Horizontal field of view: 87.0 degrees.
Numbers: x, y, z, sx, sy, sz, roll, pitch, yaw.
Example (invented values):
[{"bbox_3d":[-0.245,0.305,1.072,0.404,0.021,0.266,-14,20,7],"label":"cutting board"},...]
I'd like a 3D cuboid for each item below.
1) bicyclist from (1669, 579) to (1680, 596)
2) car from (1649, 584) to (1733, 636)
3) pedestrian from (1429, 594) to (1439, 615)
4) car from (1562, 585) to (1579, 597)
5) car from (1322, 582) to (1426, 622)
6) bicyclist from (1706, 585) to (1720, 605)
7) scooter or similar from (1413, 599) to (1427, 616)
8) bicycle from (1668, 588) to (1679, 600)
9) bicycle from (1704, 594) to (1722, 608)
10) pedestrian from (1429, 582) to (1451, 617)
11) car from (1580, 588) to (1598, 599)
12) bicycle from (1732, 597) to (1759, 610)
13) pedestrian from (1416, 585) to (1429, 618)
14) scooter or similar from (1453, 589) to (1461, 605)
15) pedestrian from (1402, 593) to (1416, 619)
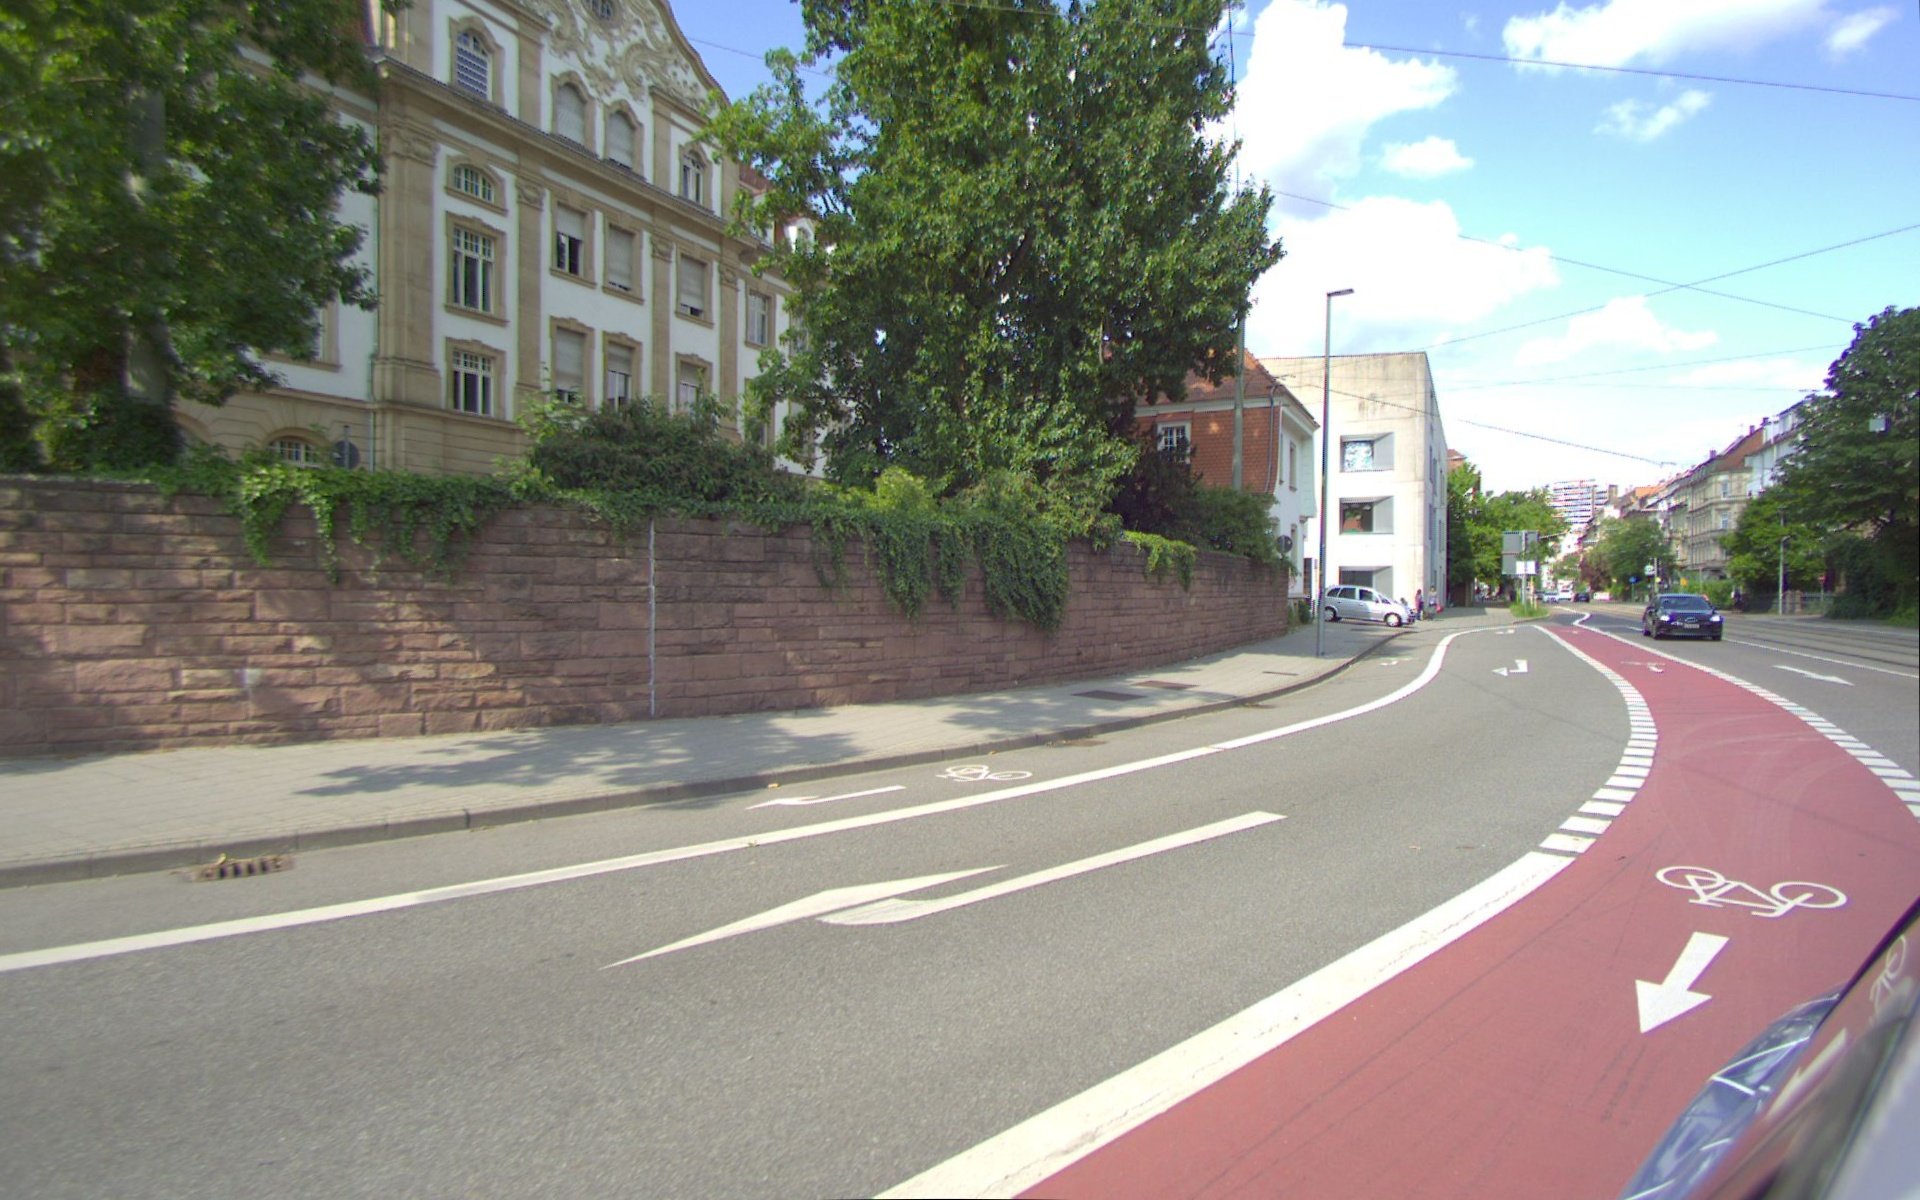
[{"bbox_3d":[68.231,-1.201,96.670,0.597,1.510,0.872,7,3,30],"label":"bicyclist"},{"bbox_3d":[23.891,0.298,33.199,1.679,1.597,4.115,1,0,28],"label":"car"},{"bbox_3d":[23.431,0.225,50.028,0.339,1.023,0.394,2,0,19],"label":"pedestrian"},{"bbox_3d":[101.066,-1.474,167.480,1.885,1.931,5.335,1,1,26],"label":"car"},{"bbox_3d":[17.601,0.077,43.094,3.864,1.625,1.645,1,-1,33],"label":"car"},{"bbox_3d":[57.772,-0.392,77.649,0.686,1.538,0.860,2,1,25],"label":"bicyclist"},{"bbox_3d":[23.317,0.373,51.283,0.540,0.810,0.267,4,0,5],"label":"scooter or similar"},{"bbox_3d":[68.145,-0.591,96.648,0.600,1.110,2.001,7,3,30],"label":"bicycle"},{"bbox_3d":[57.769,0.041,77.656,0.693,1.030,1.804,2,1,24],"label":"bicycle"},{"bbox_3d":[24.460,-0.009,51.587,0.731,1.746,0.688,3,0,-29],"label":"pedestrian"},{"bbox_3d":[87.440,-0.959,140.706,1.678,1.419,3.894,3,2,27],"label":"car"},{"bbox_3d":[62.307,0.260,80.279,1.135,0.920,2.960,-3,-1,27],"label":"bicycle"},{"bbox_3d":[22.872,0.056,50.076,0.516,1.600,0.543,2,0,26],"label":"pedestrian"},{"bbox_3d":[37.673,-0.217,76.706,0.322,1.196,1.131,1,0,40],"label":"scooter or similar"},{"bbox_3d":[22.035,0.290,49.645,0.414,1.216,0.406,2,0,-5],"label":"pedestrian"}]
